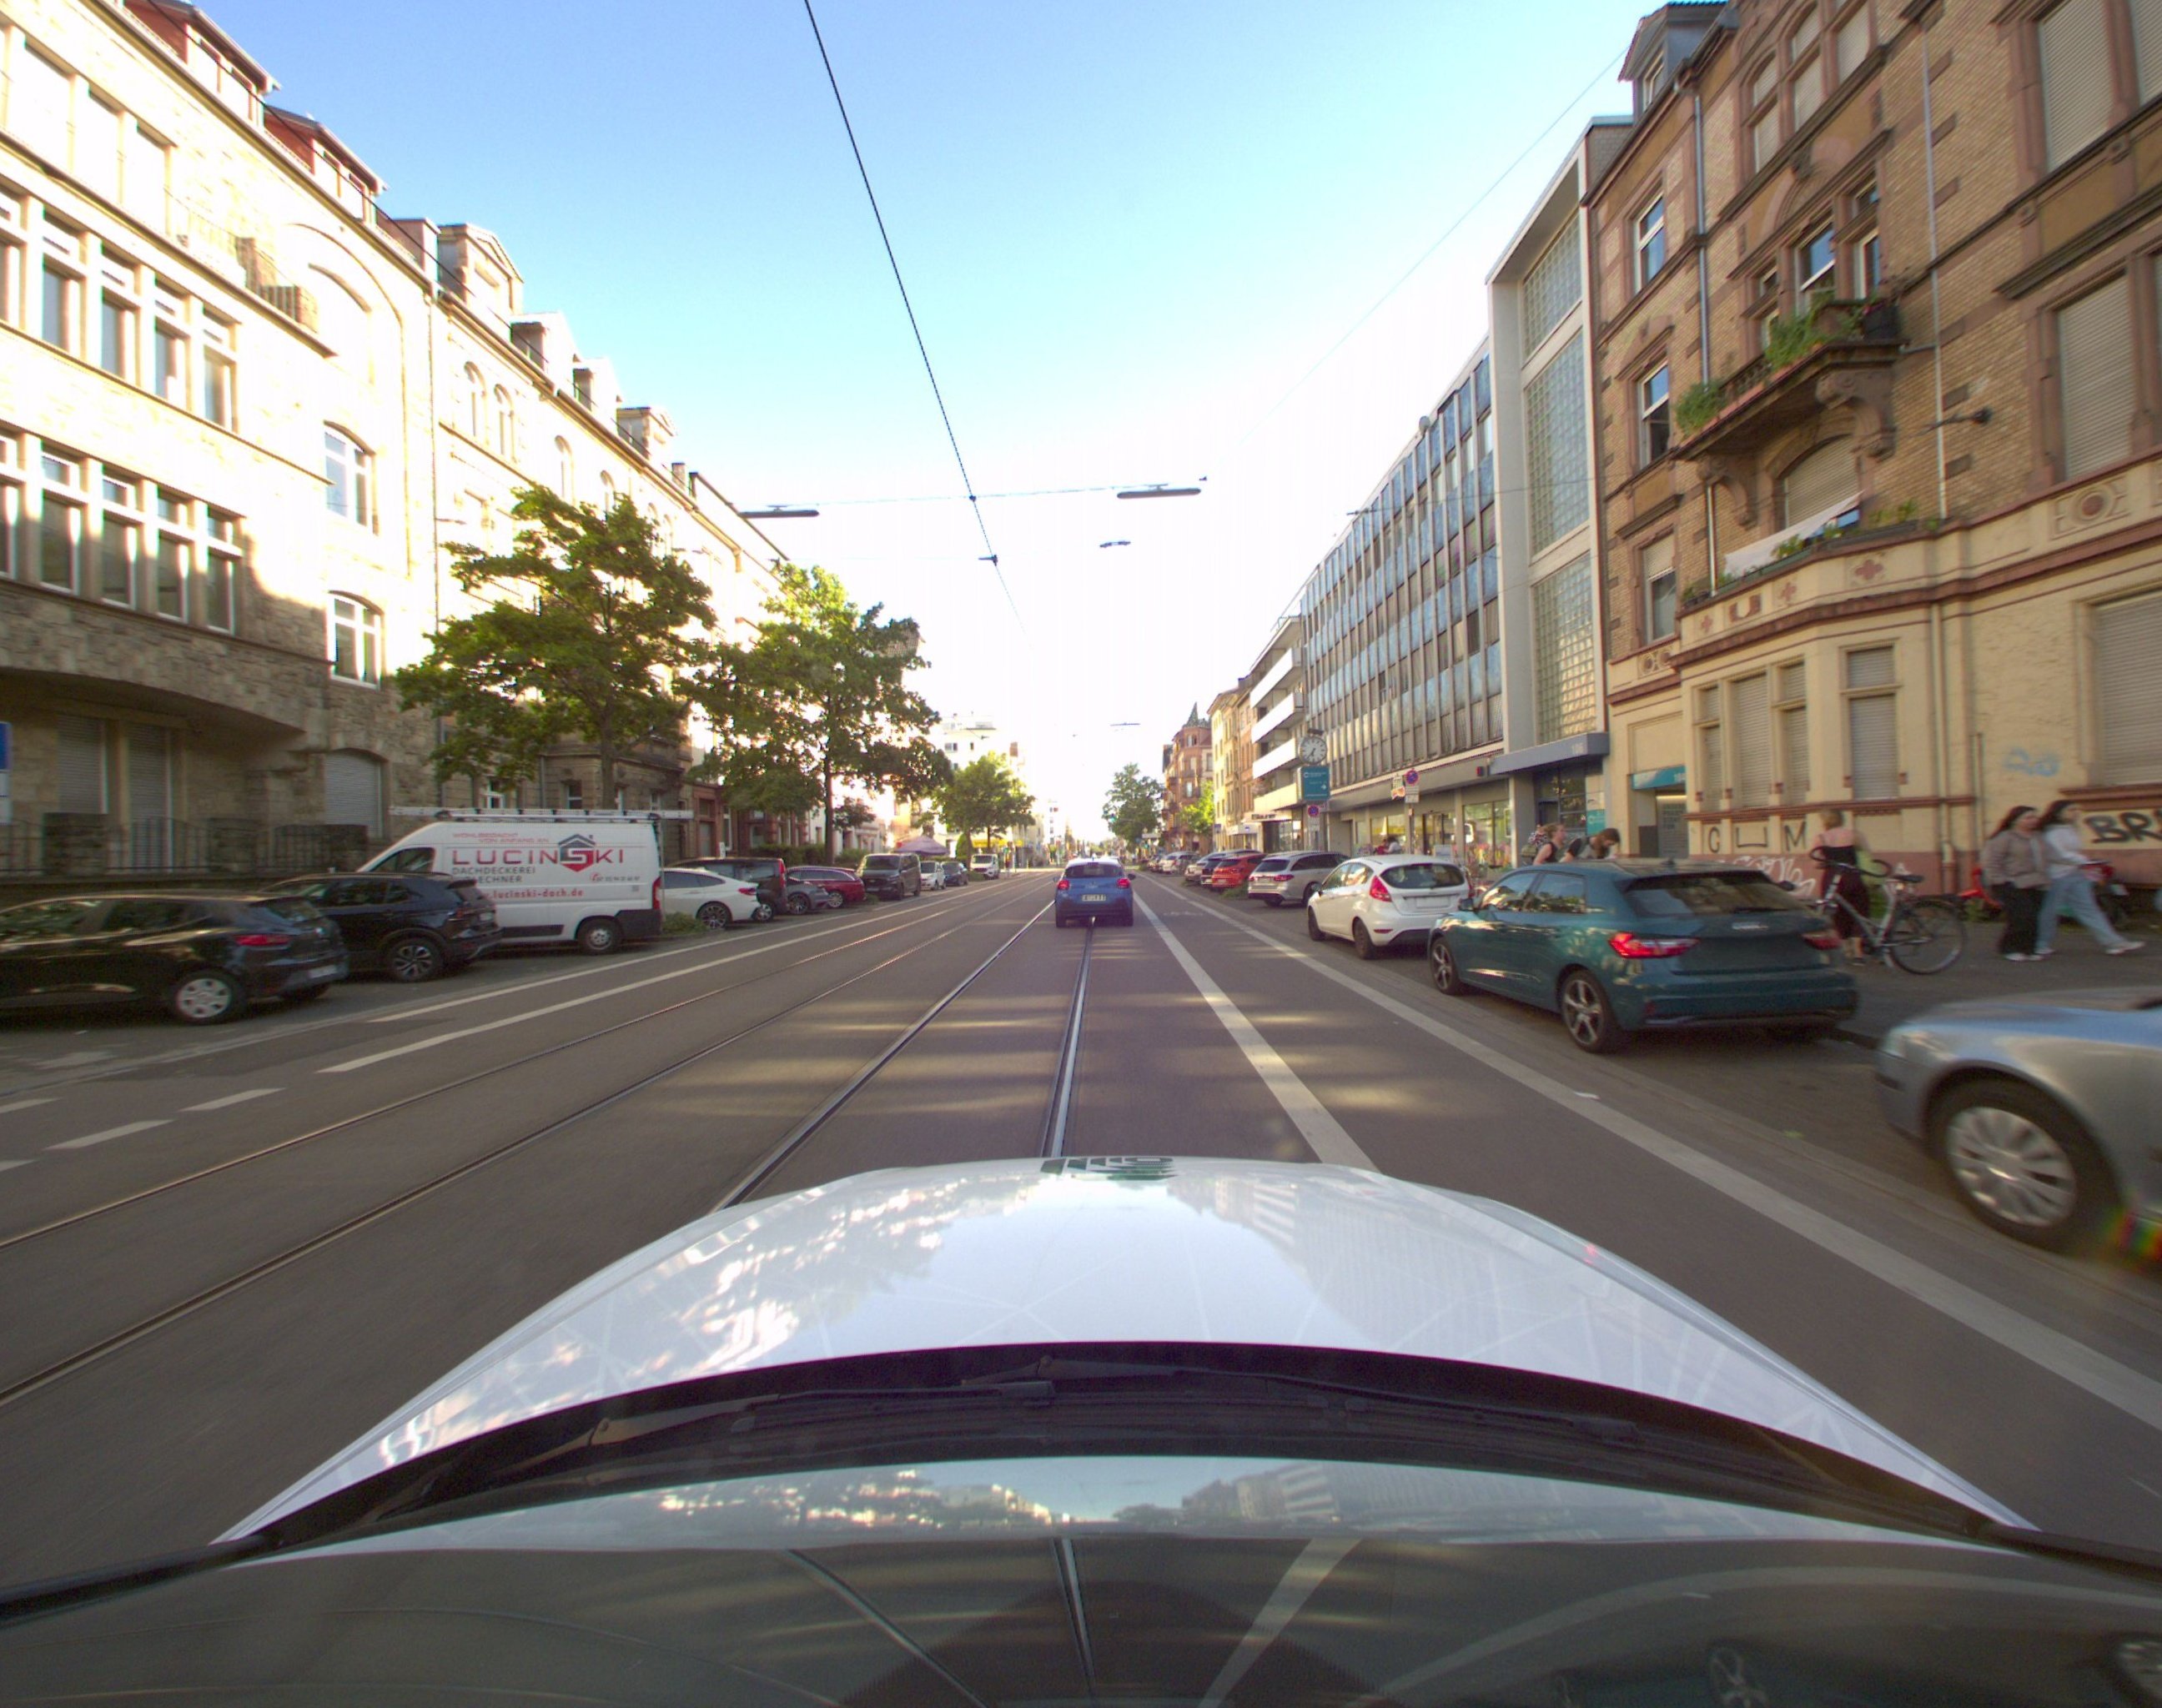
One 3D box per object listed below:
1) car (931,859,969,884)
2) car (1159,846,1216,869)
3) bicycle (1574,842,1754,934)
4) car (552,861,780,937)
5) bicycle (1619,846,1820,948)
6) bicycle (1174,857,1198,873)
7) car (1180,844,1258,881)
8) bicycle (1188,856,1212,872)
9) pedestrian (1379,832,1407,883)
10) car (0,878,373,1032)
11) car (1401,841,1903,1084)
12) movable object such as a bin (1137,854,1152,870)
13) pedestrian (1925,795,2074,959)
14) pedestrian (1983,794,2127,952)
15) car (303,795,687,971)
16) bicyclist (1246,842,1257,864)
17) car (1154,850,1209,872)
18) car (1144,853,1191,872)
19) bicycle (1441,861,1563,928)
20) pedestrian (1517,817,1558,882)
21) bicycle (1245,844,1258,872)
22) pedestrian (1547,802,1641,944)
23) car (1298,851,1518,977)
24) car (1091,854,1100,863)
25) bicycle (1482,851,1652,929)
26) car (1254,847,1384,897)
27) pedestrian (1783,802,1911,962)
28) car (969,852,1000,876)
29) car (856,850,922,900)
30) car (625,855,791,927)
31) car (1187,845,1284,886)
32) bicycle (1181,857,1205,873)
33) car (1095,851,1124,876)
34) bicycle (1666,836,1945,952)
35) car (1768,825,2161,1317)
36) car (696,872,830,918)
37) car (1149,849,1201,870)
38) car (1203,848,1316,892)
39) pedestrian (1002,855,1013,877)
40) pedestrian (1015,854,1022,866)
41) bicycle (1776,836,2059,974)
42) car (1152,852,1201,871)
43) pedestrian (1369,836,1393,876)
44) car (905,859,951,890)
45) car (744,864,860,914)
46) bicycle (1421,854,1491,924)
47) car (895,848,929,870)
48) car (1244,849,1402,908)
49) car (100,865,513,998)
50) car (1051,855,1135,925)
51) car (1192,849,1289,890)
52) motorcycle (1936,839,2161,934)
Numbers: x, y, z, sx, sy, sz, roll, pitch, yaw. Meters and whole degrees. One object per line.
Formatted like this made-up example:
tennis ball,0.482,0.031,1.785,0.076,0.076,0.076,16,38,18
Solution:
car,-8.009,1.050,50.191,1.742,1.487,4.039,-1,0,-1
car,7.589,0.263,58.091,3.674,1.574,1.844,-1,-1,-27
bicycle,8.098,0.463,11.357,2.012,1.221,0.664,-1,-1,1
car,-10.046,1.021,19.943,4.787,1.618,1.695,-1,-1,-31
bicycle,8.098,0.530,10.379,2.012,1.221,0.664,-1,-1,1
bicycle,6.950,0.740,54.061,0.557,1.047,1.789,0,-1,-34
car,6.491,0.392,38.235,3.467,1.640,1.666,-1,-1,-35
bicycle,8.001,0.703,54.776,0.557,1.047,1.789,0,-1,-34
pedestrian,10.960,0.132,28.628,0.690,1.756,0.678,-1,-1,1
car,-10.991,1.078,9.273,3.994,1.489,1.797,-1,-1,-15
car,4.595,0.742,7.445,1.866,1.596,4.002,-1,0,2
movable object such as a bin,6.274,0.795,80.096,1.389,1.483,1.656,-1,-1,2
pedestrian,9.628,0.232,8.562,0.709,1.607,0.654,-4,-1,1
pedestrian,10.340,0.197,8.673,0.709,1.607,0.654,-1,-1,1
car,-10.220,0.439,14.829,5.402,2.749,1.789,-1,-1,-29
bicyclist,12.719,-0.089,60.687,0.728,1.623,0.529,-1,-1,7
car,7.542,0.509,61.346,3.664,1.574,1.850,-1,-1,-18
car,7.530,0.734,70.797,3.664,1.534,1.778,-1,-1,-18
bicycle,7.961,0.759,15.503,2.001,1.221,0.667,-1,-1,24
pedestrian,12.836,-0.123,22.917,0.717,1.806,0.727,-1,-1,2
bicycle,12.717,0.309,60.691,0.724,2.014,2.363,-1,-1,8
pedestrian,6.239,0.227,9.940,0.709,1.671,0.654,-1,-1,1
car,4.723,0.782,12.453,1.866,1.596,4.002,-1,0,2
car,2.322,0.776,131.853,1.417,1.432,3.140,-1,-1,2
bicycle,7.962,0.587,13.412,2.347,1.221,0.665,-1,-1,4
car,7.621,0.534,26.070,3.796,1.487,1.822,-1,-1,-28
pedestrian,8.056,0.285,8.595,0.709,1.607,0.654,-1,-1,1
car,-7.534,0.767,63.850,1.825,1.848,4.215,-1,-1,2
car,-8.295,0.874,35.677,1.742,1.973,5.237,-1,0,-1
car,-10.181,0.958,22.445,4.005,1.817,1.699,-1,-1,-24
car,6.736,0.478,35.460,3.743,1.652,2.027,-1,-1,-31
bicycle,7.488,0.712,54.407,0.557,1.047,1.789,0,-1,-34
car,1.896,0.614,54.630,1.866,1.596,4.002,-1,0,2
bicycle,8.130,0.436,9.208,2.529,1.221,0.664,-1,-1,1
car,4.401,0.686,1.816,1.866,1.596,4.721,-1,0,2
car,-9.983,1.256,25.619,3.815,1.265,1.504,-1,-1,-24
car,7.398,0.402,64.211,3.664,1.574,1.850,-1,-1,-18
car,6.539,0.553,29.757,3.743,1.521,1.949,-1,-1,-31
pedestrian,-5.862,0.927,65.013,0.732,1.726,0.623,-1,-1,-23
pedestrian,-8.839,0.830,115.817,0.942,1.751,0.699,-1,-1,-3
bicycle,8.084,0.476,7.926,2.050,1.221,0.663,-2,-1,-1
car,7.959,0.615,67.832,3.664,1.574,1.850,-1,-1,-18
pedestrian,11.864,0.085,32.268,0.690,1.588,0.678,-1,-1,1
car,-8.345,1.088,44.709,1.742,1.618,4.408,-1,0,-1
car,-9.820,1.200,28.781,3.736,1.622,1.777,-1,-1,-20
bicycle,6.731,0.607,14.664,0.690,1.185,1.239,-1,-1,1
car,-12.280,0.366,59.344,1.628,1.469,3.528,-1,-1,2
car,6.815,0.635,22.841,4.465,1.508,1.522,-1,-1,-28
car,-10.919,1.006,11.901,4.005,1.618,1.699,-1,-1,-24
car,0.296,0.759,18.869,1.756,1.441,3.557,-1,0,1
car,6.372,0.590,32.544,3.463,1.555,1.806,-1,-1,-30
motorcycle,11.878,0.354,9.805,0.505,0.992,2.520,-5,-1,2
